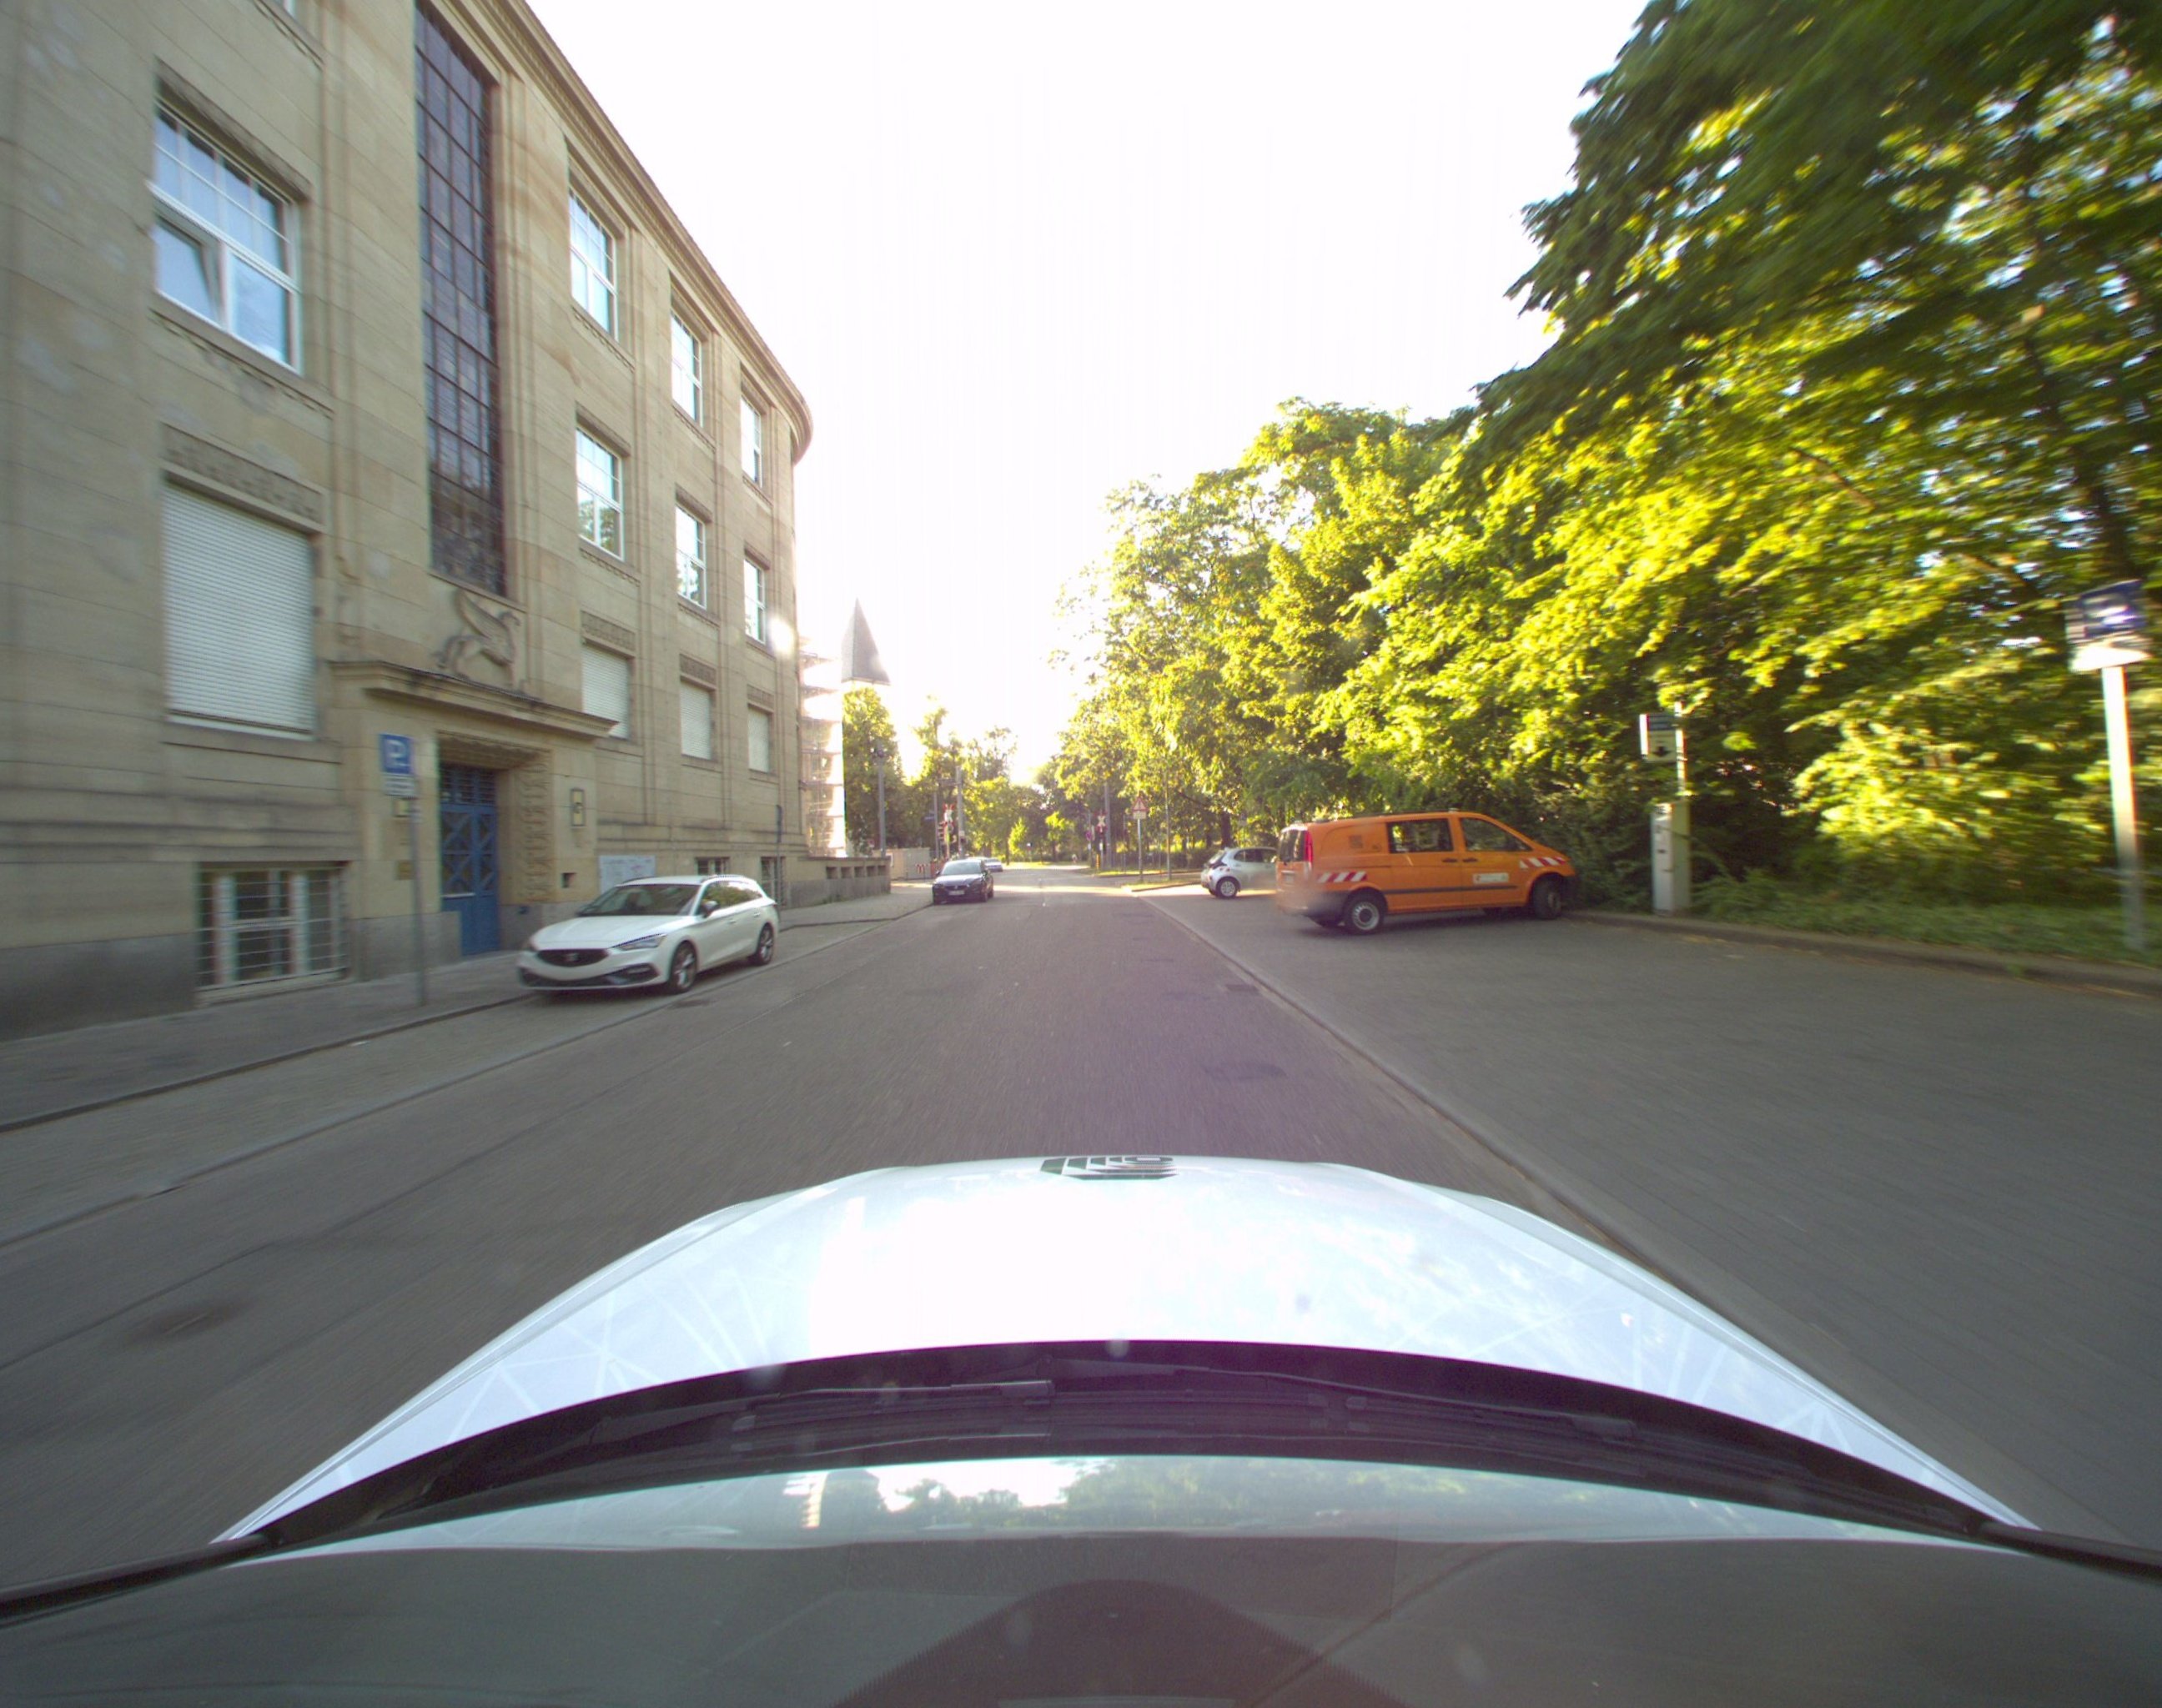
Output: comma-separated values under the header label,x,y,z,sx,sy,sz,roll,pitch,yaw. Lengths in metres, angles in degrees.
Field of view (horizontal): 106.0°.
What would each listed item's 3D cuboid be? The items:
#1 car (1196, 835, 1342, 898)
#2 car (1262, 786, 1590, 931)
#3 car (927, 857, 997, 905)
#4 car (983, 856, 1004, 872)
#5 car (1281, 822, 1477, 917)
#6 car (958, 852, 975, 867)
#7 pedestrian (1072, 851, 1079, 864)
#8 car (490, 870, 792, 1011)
label,x,y,z,sx,sy,sz,roll,pitch,yaw
car,5.635,0.366,24.761,3.974,1.546,1.735,-4,0,0
car,5.882,0.064,14.292,4.786,1.997,2.078,-4,0,-4
car,-4.040,0.876,28.369,1.738,1.448,4.208,-3,0,0
car,-8.853,0.985,81.928,1.780,1.415,4.482,-4,1,-10
car,6.132,0.299,17.031,3.385,1.631,1.679,-4,0,0
car,-16.202,0.796,114.828,1.854,1.946,4.817,-2,0,-14
pedestrian,-0.636,0.440,102.279,0.772,1.574,0.766,-3,0,-5
car,-5.729,1.015,11.393,1.738,1.435,4.560,-1,0,0
